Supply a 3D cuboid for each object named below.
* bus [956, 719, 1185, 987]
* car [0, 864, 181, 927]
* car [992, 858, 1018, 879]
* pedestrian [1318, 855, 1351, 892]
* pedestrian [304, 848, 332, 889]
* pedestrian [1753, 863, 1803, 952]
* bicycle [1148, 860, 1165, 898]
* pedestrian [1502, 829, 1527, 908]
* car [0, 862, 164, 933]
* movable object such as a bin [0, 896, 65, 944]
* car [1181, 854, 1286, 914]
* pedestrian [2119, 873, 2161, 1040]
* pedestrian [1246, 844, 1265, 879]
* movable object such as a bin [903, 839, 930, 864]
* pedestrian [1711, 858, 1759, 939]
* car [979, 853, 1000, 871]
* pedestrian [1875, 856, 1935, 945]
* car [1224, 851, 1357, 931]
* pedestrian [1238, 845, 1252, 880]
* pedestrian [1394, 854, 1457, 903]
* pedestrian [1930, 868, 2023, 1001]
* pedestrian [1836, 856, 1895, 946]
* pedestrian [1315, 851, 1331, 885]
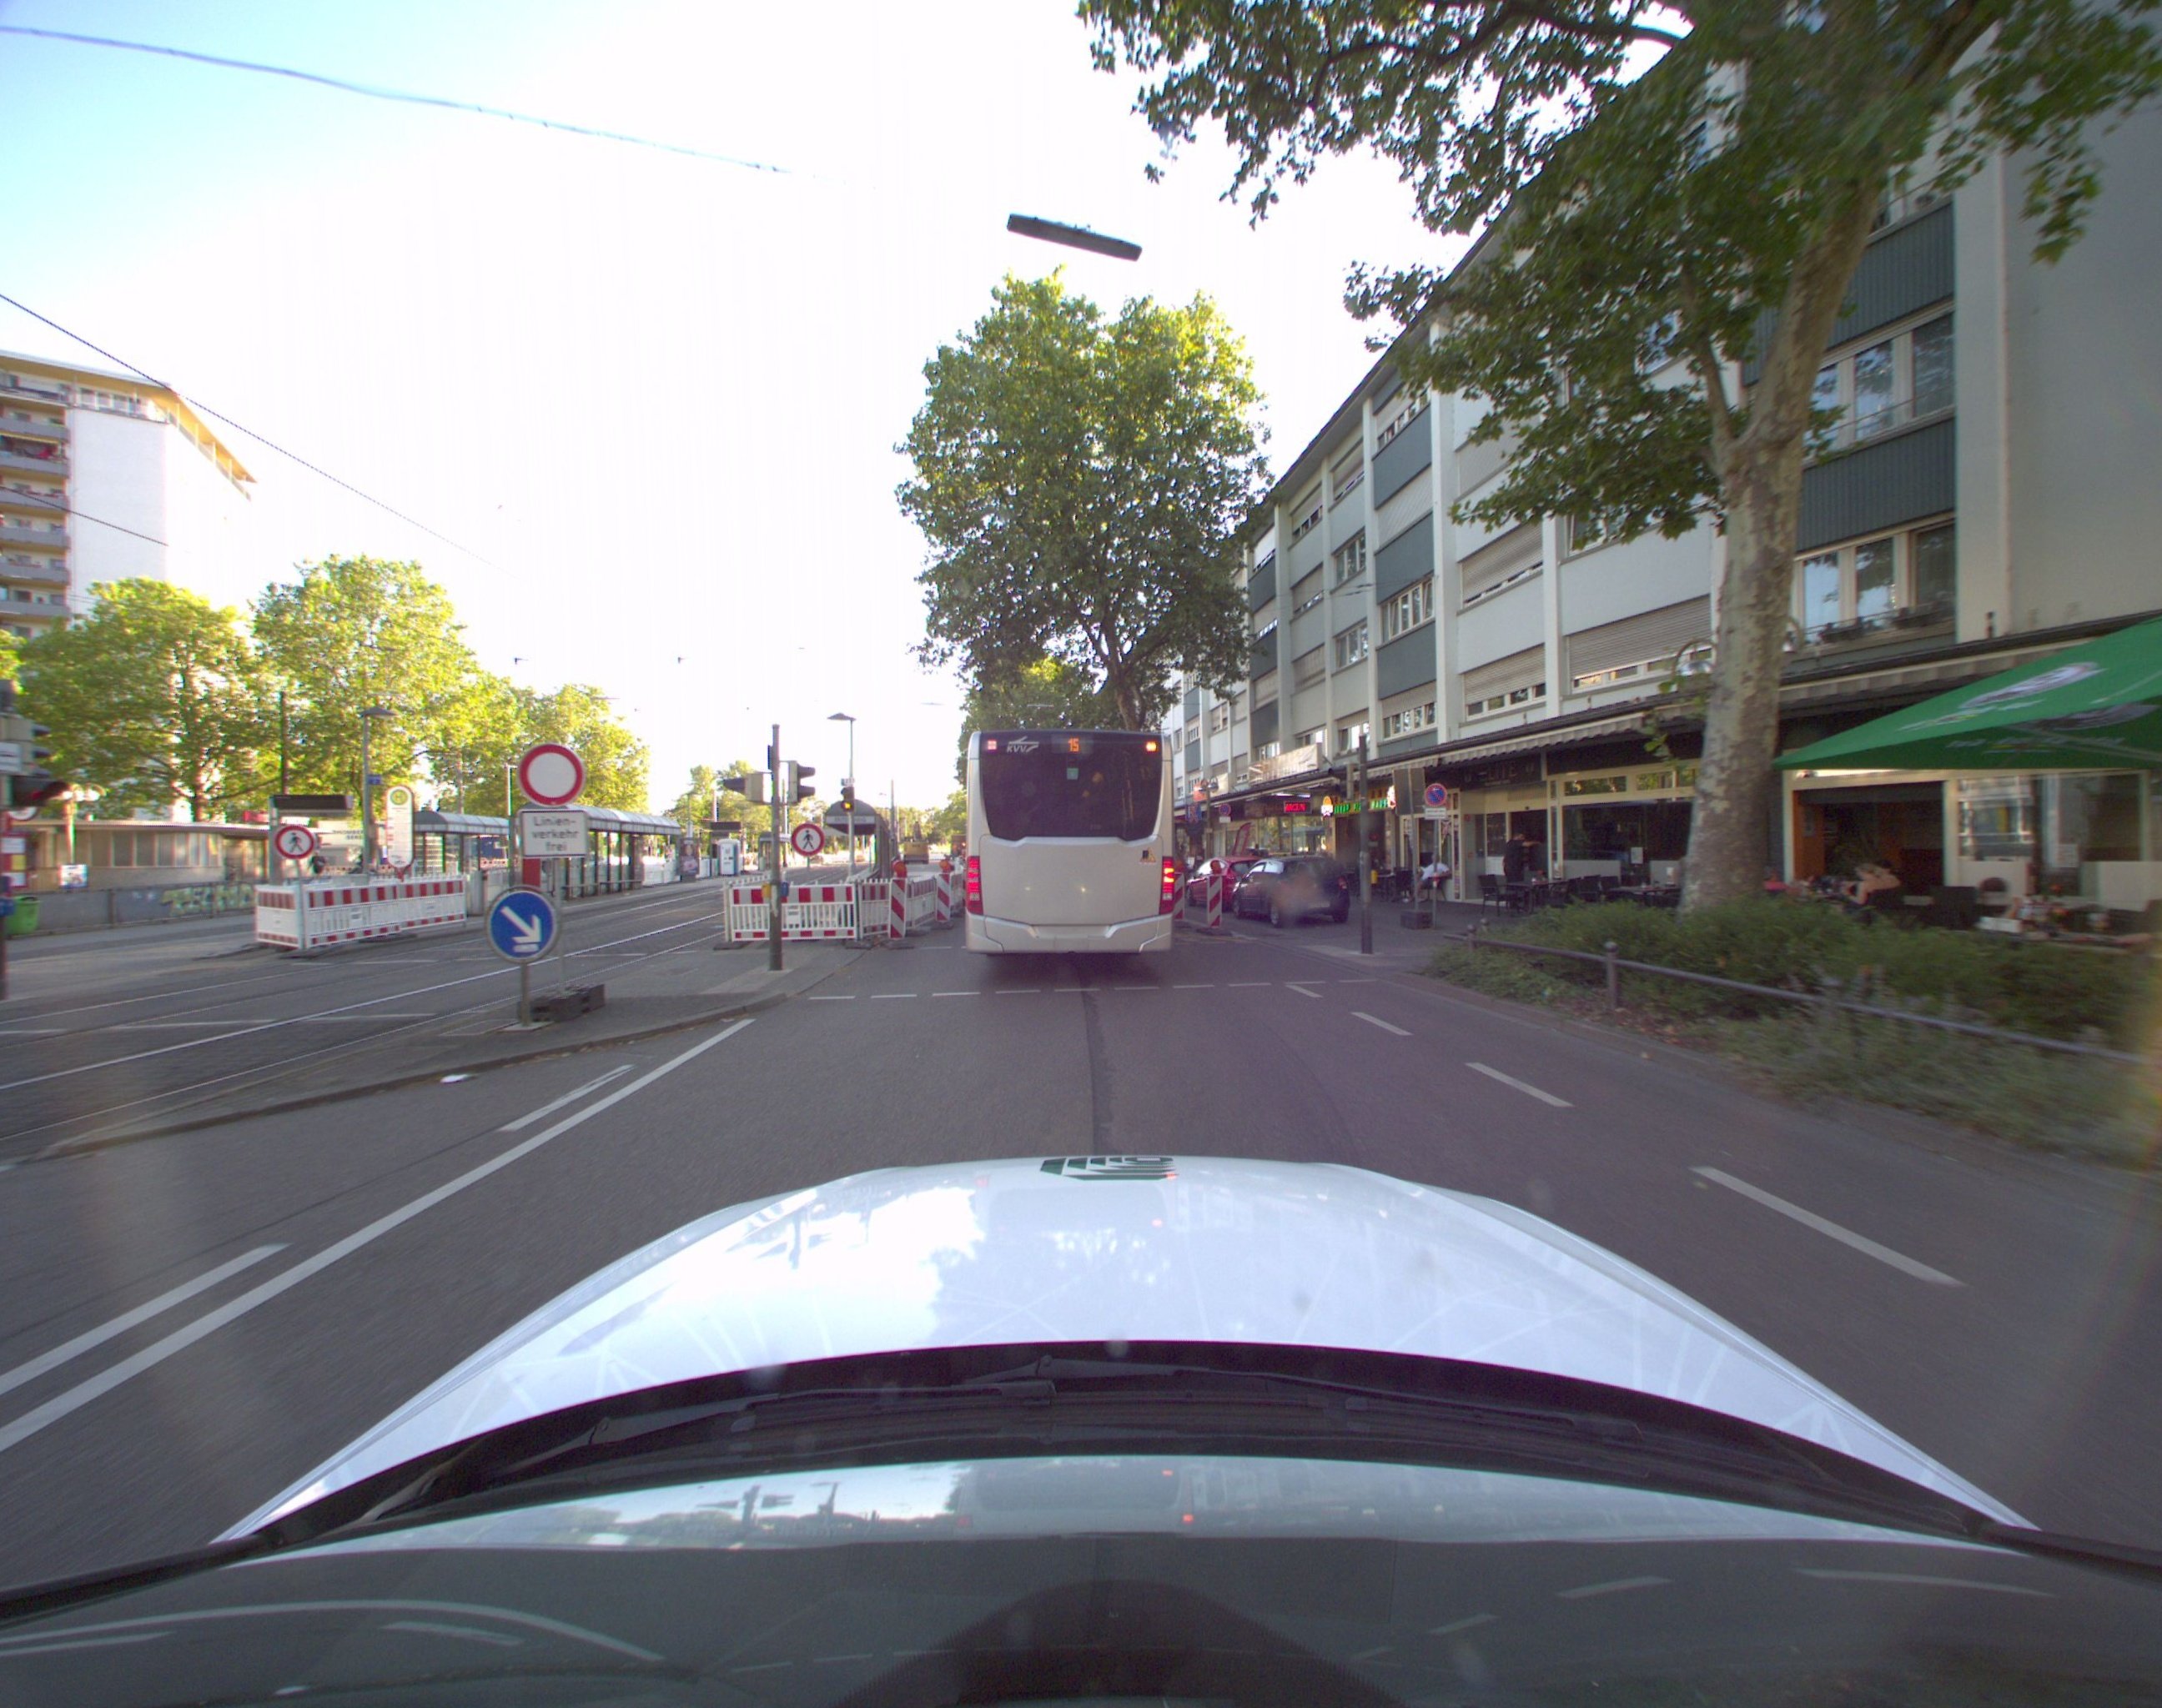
[{"bbox_3d":[-0.405,-0.014,14.620,2.652,3.098,10.203,-1,0,-3],"label":"bus"},{"bbox_3d":[-27.842,1.067,22.432,1.886,1.531,4.192,-1,0,-11],"label":"car"},{"bbox_3d":[-5.596,1.019,60.246,1.752,1.464,3.995,-1,0,-4],"label":"car"},{"bbox_3d":[7.847,0.583,25.244,0.704,1.108,0.764,-1,0,-8],"label":"pedestrian"},{"bbox_3d":[-37.457,0.699,39.987,0.710,2.013,0.738,-1,0,-20],"label":"pedestrian"},{"bbox_3d":[10.036,0.758,11.733,0.452,1.237,0.396,-1,0,-26],"label":"pedestrian"},{"bbox_3d":[2.580,0.840,27.852,0.504,1.211,2.097,-1,0,7],"label":"bicycle"},{"bbox_3d":[9.556,0.311,17.959,0.356,1.718,0.309,1,0,-1],"label":"pedestrian"},{"bbox_3d":[-24.802,0.978,19.276,1.886,1.531,4.192,-1,0,-11],"label":"car"},{"bbox_3d":[-20.359,1.266,15.695,0.671,0.866,0.700,1,1,-10],"label":"movable object such as a bin"},{"bbox_3d":[4.133,0.761,22.545,1.663,1.394,3.400,-4,1,-11],"label":"car"},{"bbox_3d":[8.305,0.772,6.129,0.396,1.237,0.452,-1,0,4],"label":"pedestrian"},{"bbox_3d":[6.401,0.268,29.858,0.591,1.256,0.392,-1,0,-7],"label":"pedestrian"},{"bbox_3d":[-16.981,-0.232,84.201,2.494,2.477,5.337,-1,0,-10],"label":"movable object such as a bin"},{"bbox_3d":[10.259,0.686,12.775,0.400,1.237,0.448,-1,0,-25],"label":"pedestrian"},{"bbox_3d":[-8.227,0.697,72.937,1.755,1.464,3.988,-1,0,-9],"label":"car"},{"bbox_3d":[11.724,0.655,11.593,0.396,1.237,0.452,-1,0,4],"label":"pedestrian"},{"bbox_3d":[4.639,0.745,18.515,1.662,1.516,3.402,-4,1,-9],"label":"car"},{"bbox_3d":[5.897,0.302,29.330,0.387,1.256,0.391,-1,0,-9],"label":"pedestrian"},{"bbox_3d":[8.862,0.615,20.983,1.177,1.197,0.923,-1,0,-8],"label":"pedestrian"},{"bbox_3d":[8.629,0.757,7.860,0.396,1.237,0.452,-1,0,5],"label":"pedestrian"},{"bbox_3d":[11.032,0.651,11.459,0.396,1.237,0.452,-1,0,4],"label":"pedestrian"},{"bbox_3d":[8.164,0.461,27.483,0.387,1.122,0.391,-1,0,-9],"label":"pedestrian"}]
